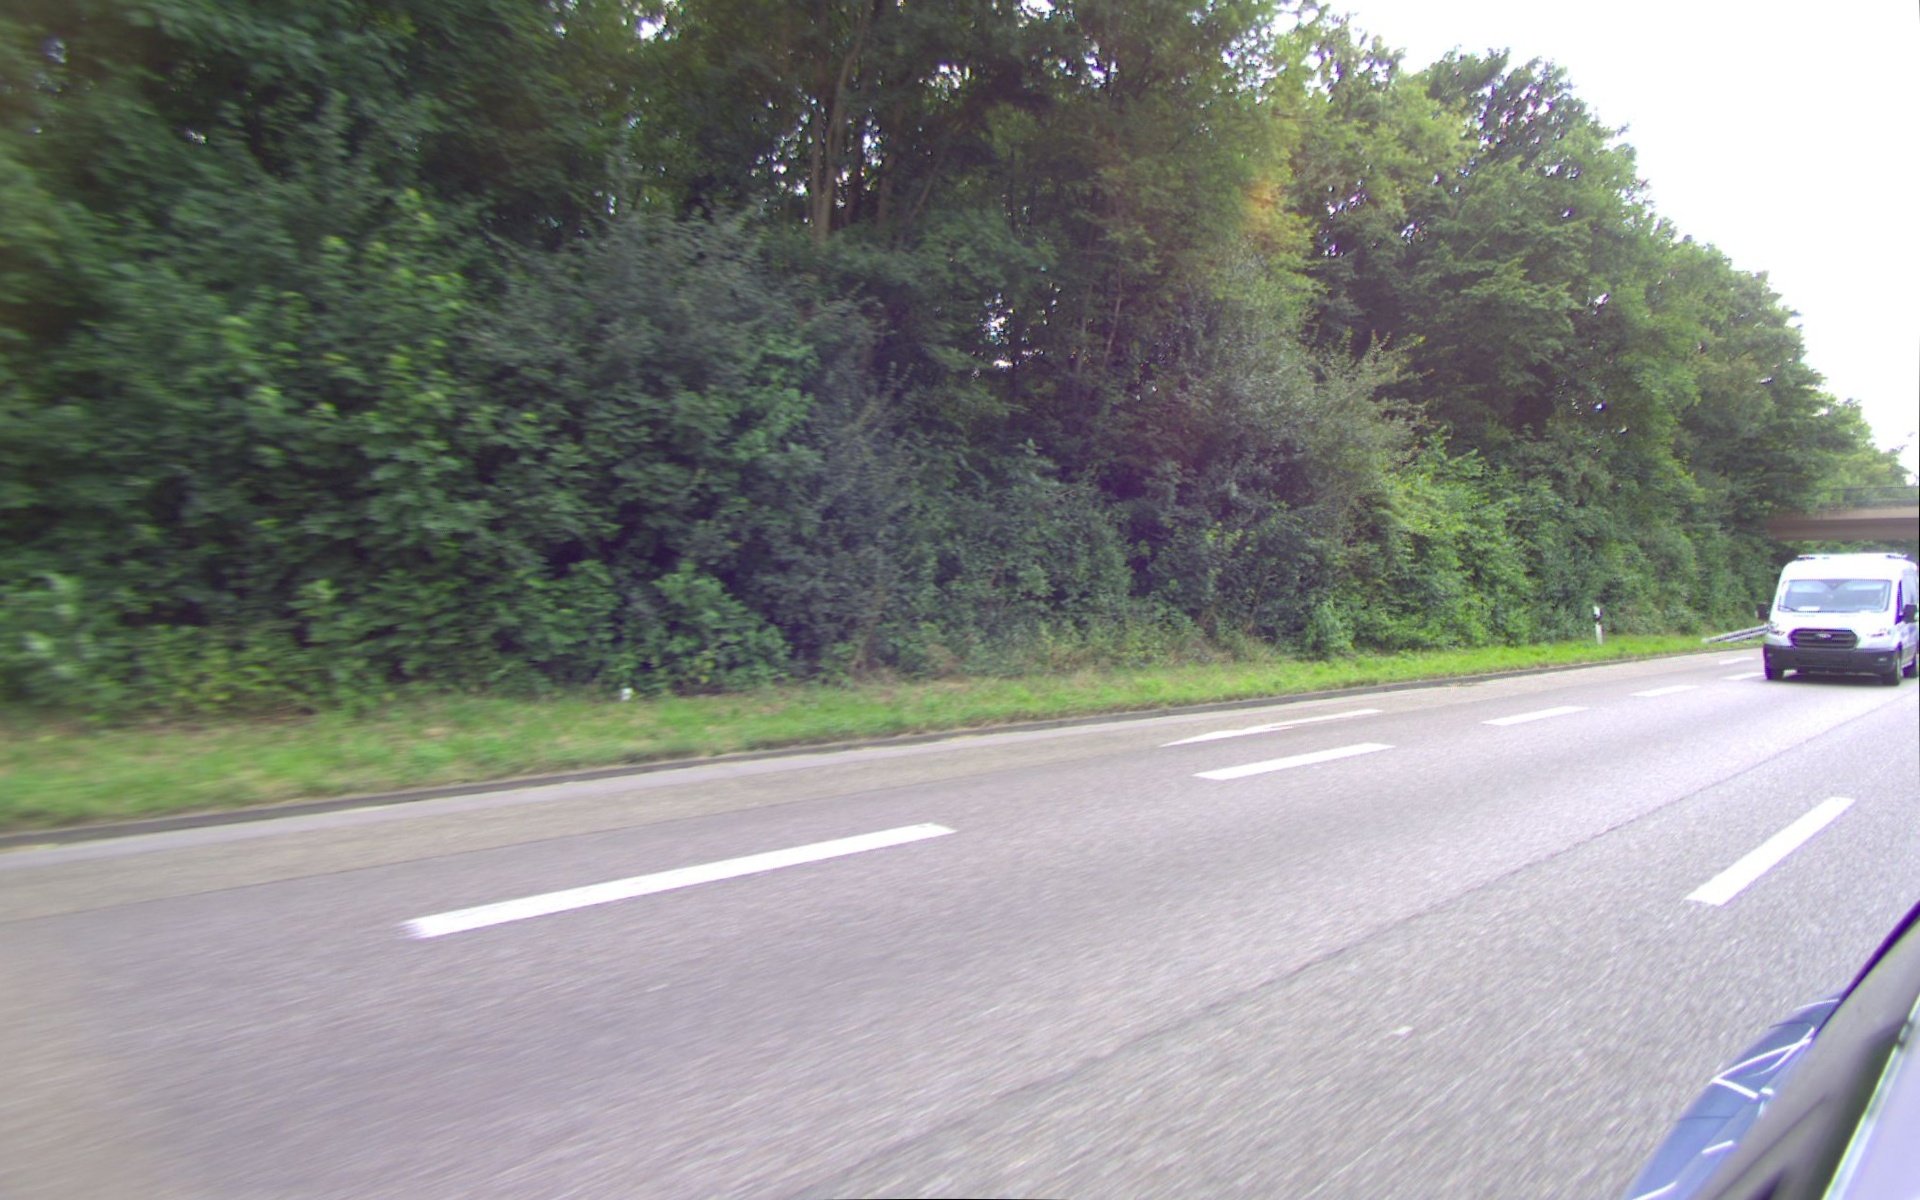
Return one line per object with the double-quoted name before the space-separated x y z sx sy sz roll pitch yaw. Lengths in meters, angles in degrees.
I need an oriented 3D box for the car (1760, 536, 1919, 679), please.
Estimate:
"car" 18.121 0.130 20.489 5.186 2.539 2.102 0 0 -41
